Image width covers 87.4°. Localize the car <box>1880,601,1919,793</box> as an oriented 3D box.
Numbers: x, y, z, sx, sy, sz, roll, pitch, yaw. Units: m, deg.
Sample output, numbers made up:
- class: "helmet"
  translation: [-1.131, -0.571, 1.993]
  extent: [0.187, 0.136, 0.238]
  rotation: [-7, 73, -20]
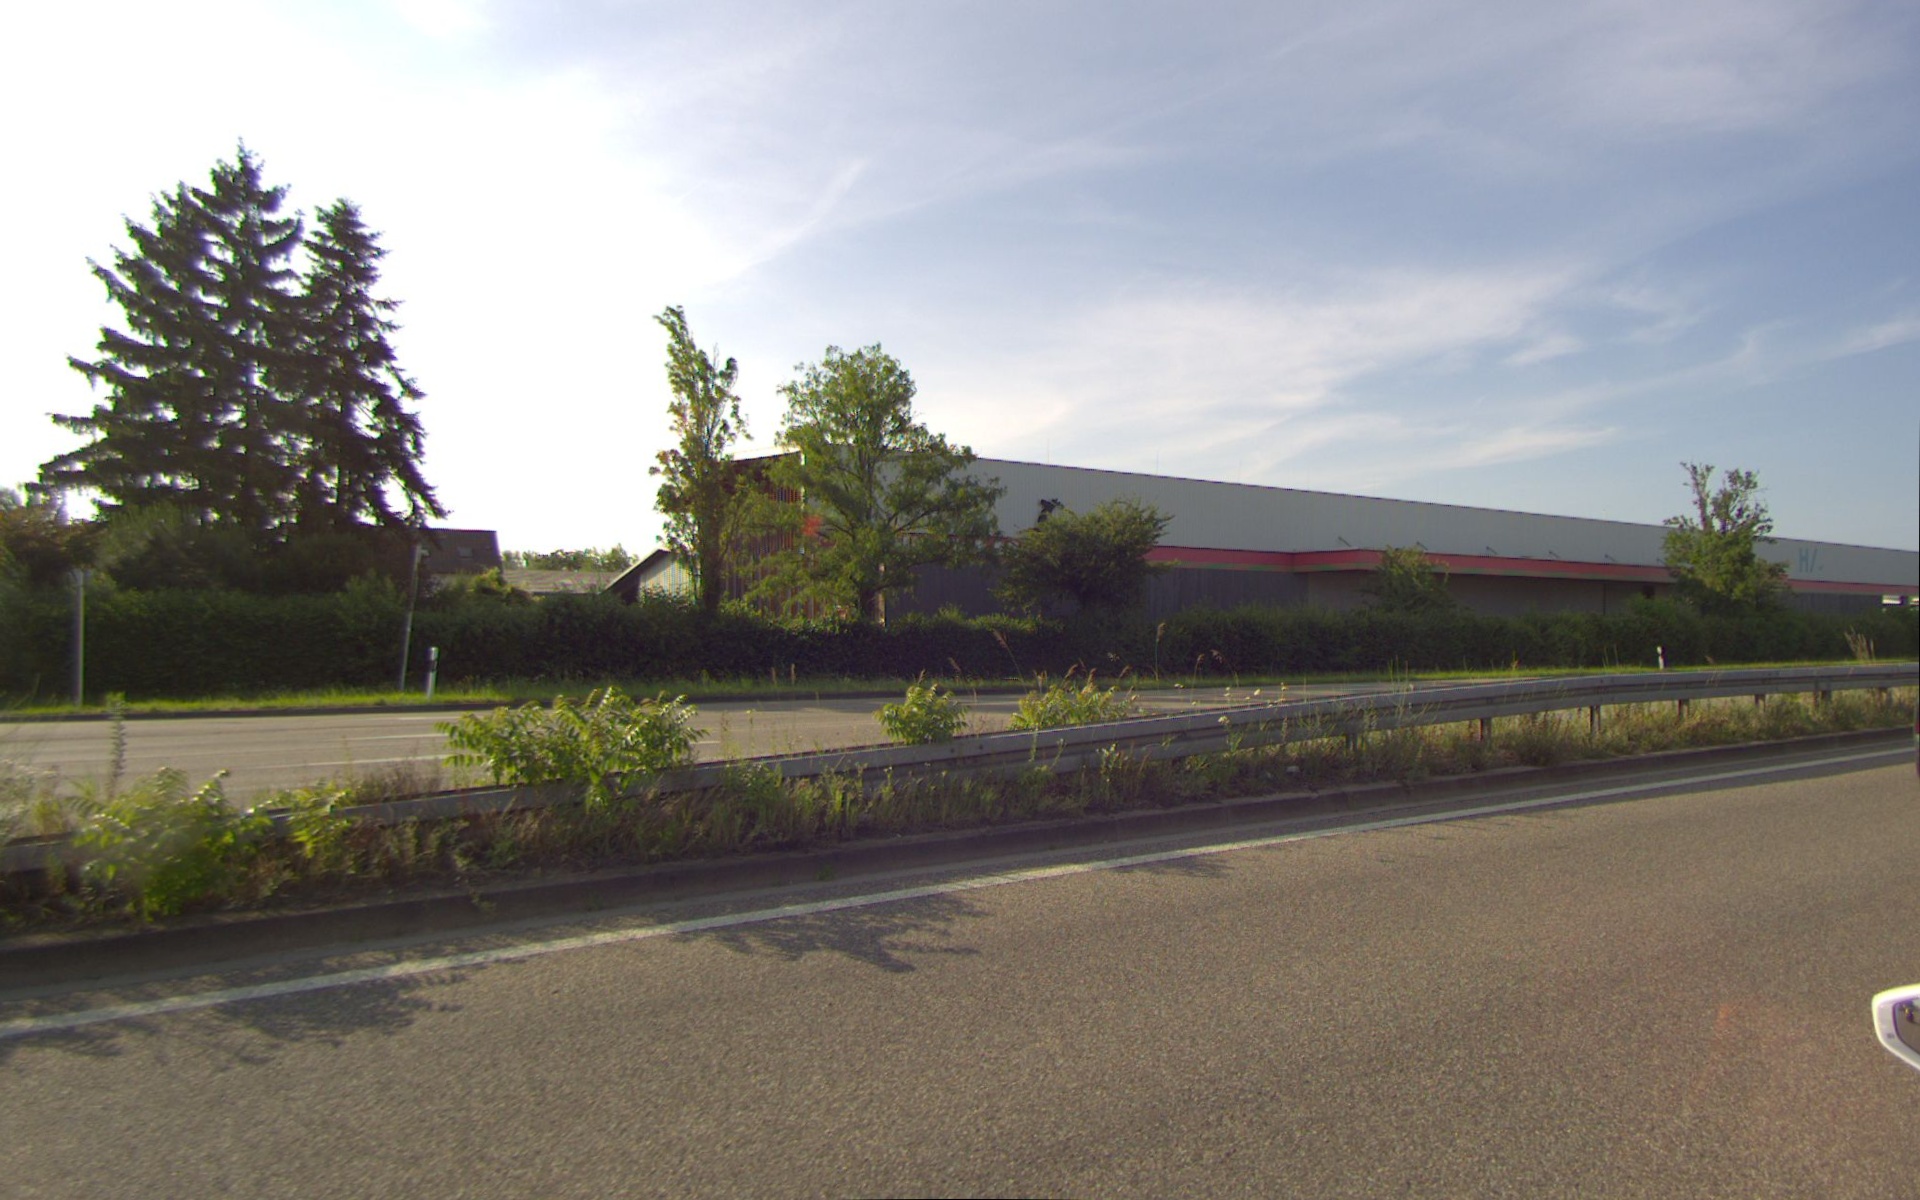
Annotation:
- class: "car"
  translation: [10.425, 0.876, 9.122]
  extent: [4.349, 1.633, 1.836]
  rotation: [1, 1, -31]
